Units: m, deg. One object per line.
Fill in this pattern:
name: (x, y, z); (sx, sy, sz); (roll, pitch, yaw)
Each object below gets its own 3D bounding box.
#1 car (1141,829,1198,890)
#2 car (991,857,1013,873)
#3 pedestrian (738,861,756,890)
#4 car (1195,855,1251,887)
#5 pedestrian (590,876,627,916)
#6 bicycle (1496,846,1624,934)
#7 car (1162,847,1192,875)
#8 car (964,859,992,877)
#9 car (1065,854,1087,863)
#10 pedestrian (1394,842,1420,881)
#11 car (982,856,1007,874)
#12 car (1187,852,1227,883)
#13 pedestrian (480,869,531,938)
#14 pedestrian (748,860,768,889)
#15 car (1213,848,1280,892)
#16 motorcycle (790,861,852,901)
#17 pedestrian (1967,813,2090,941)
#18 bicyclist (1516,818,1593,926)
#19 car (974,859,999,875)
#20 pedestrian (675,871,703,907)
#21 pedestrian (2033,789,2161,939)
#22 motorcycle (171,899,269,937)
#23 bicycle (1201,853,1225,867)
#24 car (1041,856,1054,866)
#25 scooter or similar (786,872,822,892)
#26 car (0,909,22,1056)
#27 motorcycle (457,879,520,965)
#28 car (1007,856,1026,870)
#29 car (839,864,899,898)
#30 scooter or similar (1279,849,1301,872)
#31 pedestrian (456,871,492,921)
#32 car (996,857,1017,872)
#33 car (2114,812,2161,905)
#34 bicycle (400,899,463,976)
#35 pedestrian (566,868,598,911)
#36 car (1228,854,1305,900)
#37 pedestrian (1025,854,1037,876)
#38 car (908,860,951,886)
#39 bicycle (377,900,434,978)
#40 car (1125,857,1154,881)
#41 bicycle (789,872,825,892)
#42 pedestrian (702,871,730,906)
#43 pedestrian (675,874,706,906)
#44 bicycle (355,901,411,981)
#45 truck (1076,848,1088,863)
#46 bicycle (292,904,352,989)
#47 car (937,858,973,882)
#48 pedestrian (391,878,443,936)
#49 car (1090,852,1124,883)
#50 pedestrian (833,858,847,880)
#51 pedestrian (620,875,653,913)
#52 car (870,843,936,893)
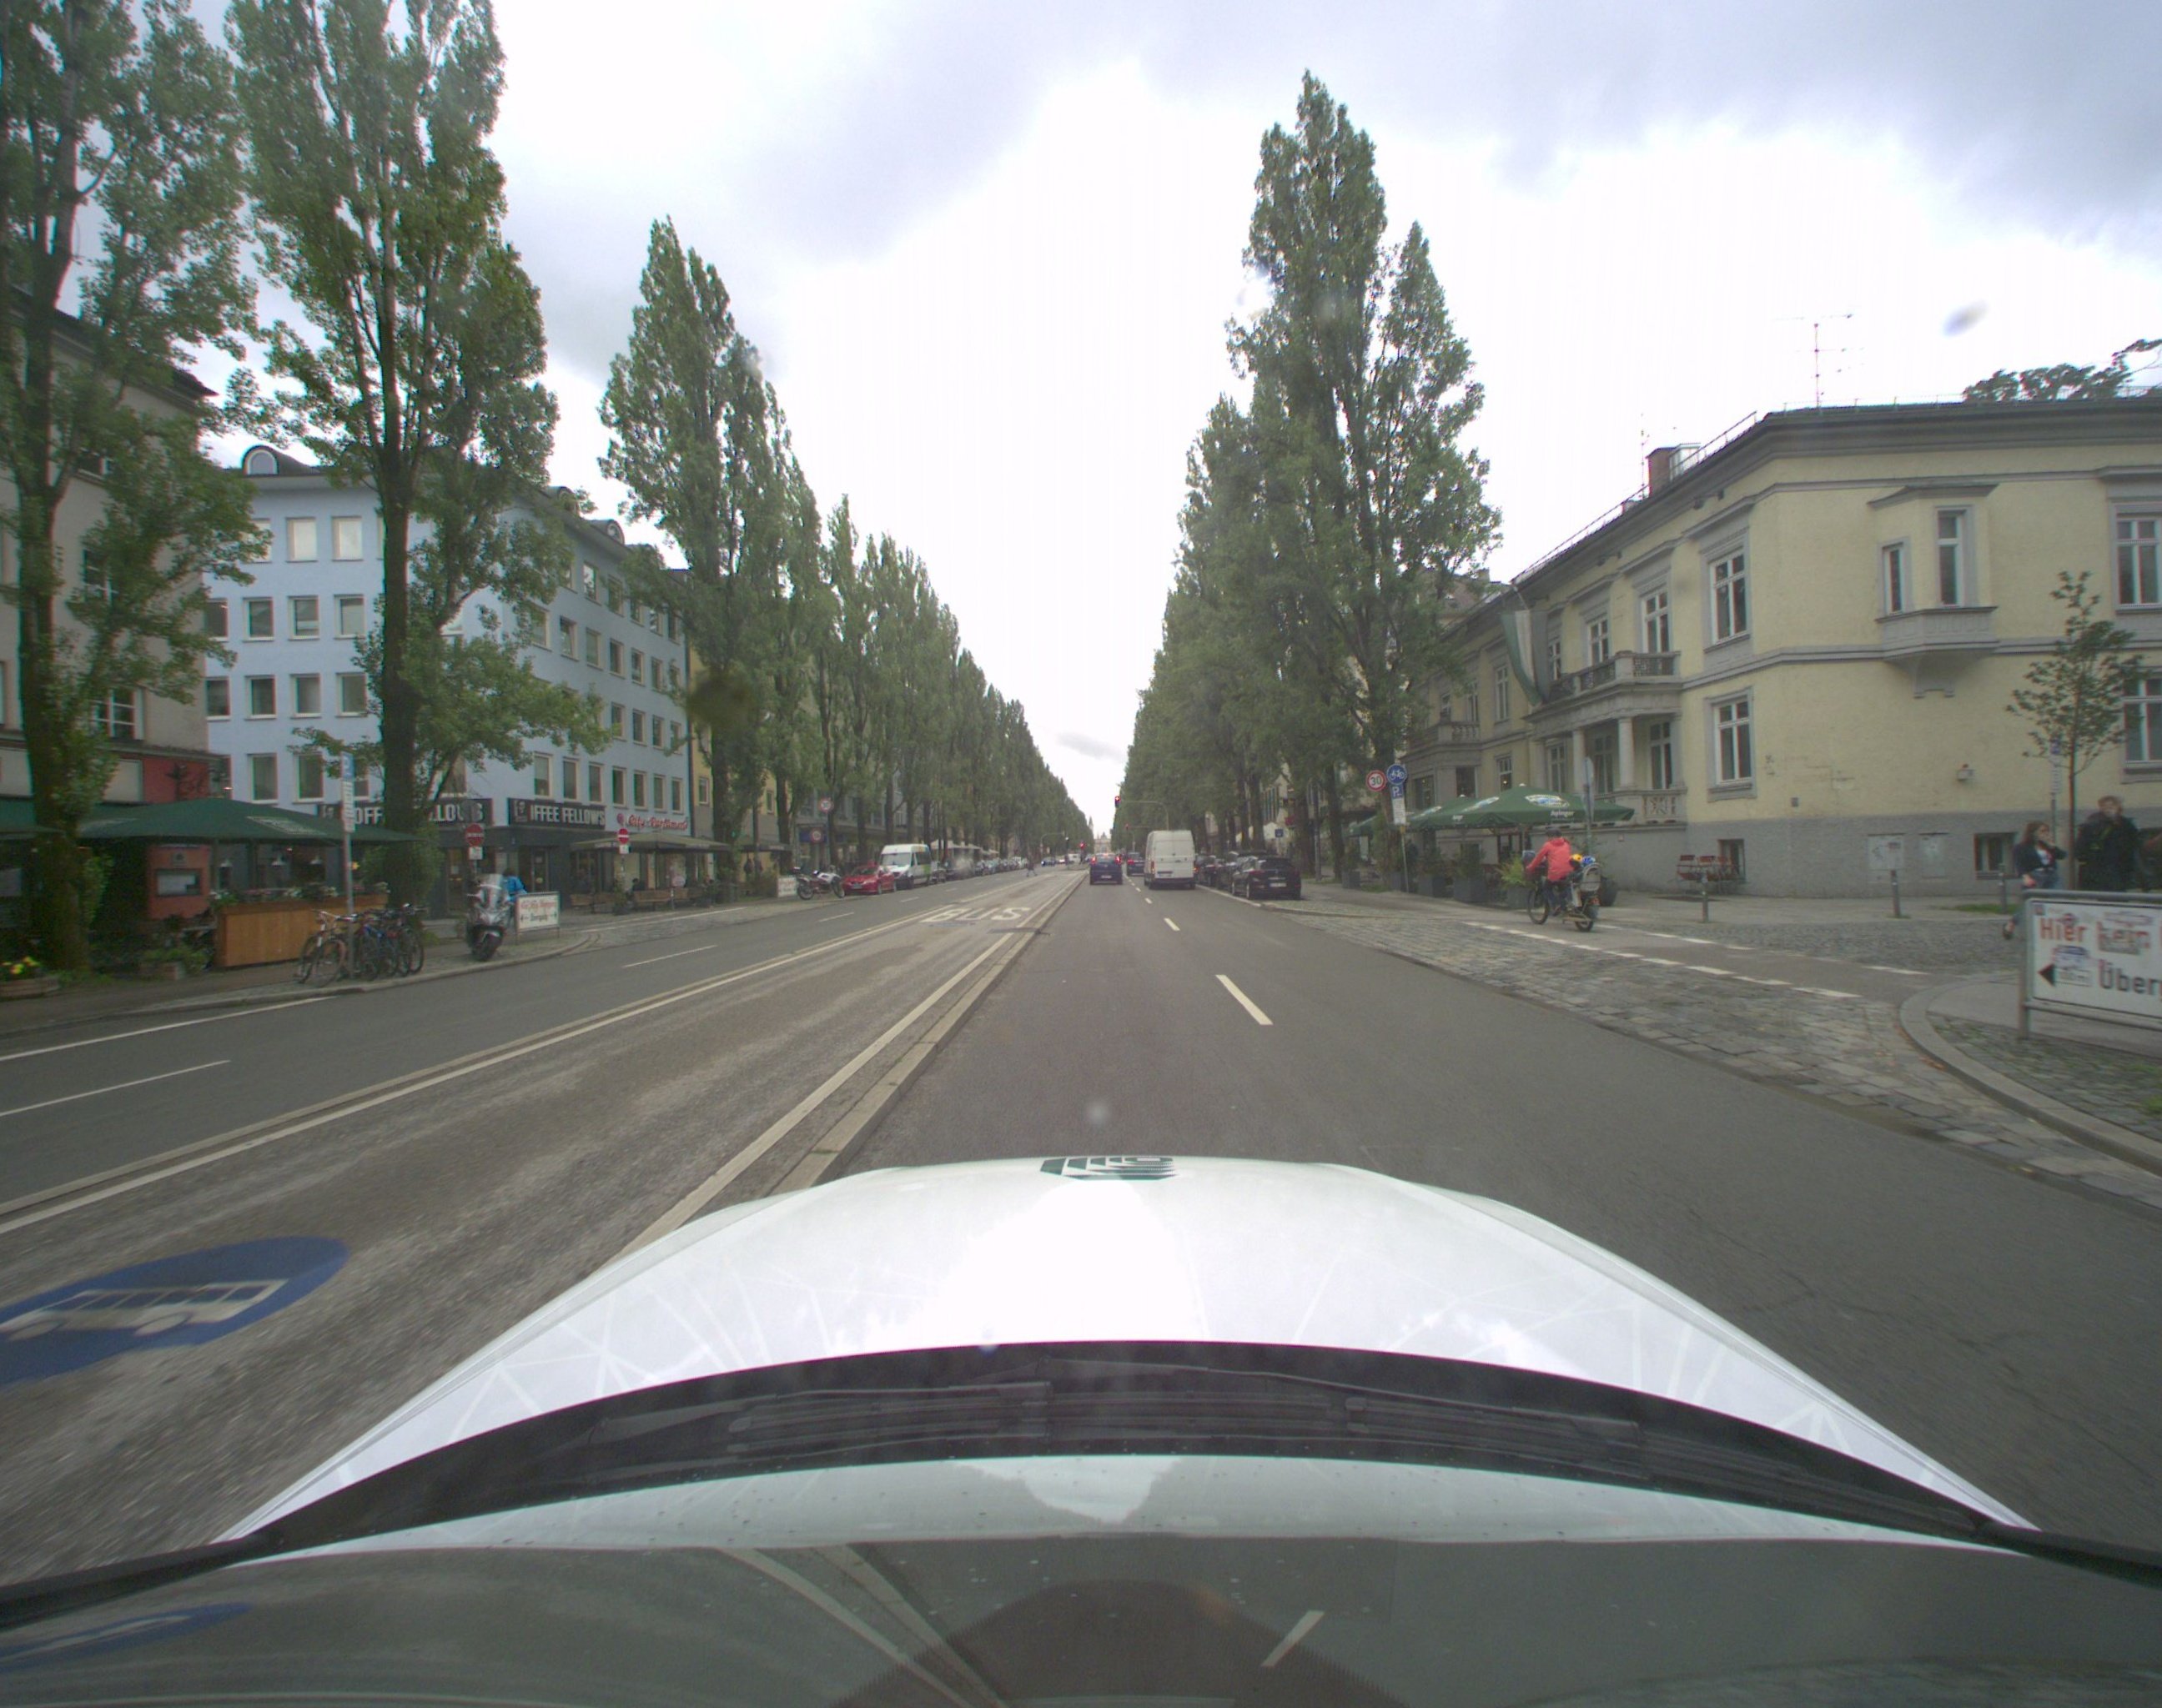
car: (3.956, 0.224, 37.454); (2.055, 2.492, 6.733); (-1, 0, 2)
car: (-8.793, 1.210, 91.243); (1.859, 1.665, 4.121); (-3, 0, 1)
pedestrian: (-19.114, 1.237, 46.552); (0.691, 1.636, 0.567); (-2, 0, 25)
car: (6.572, 0.761, 38.076); (1.705, 1.393, 4.340); (-1, 0, -2)
pedestrian: (-16.972, 1.507, 29.274); (0.694, 1.362, 0.951); (-2, 0, 4)
bicycle: (8.111, 0.561, 13.958); (0.770, 1.349, 2.450); (-2, 0, 1)
car: (7.051, 0.467, 60.160); (1.781, 1.946, 4.732); (-1, 0, 1)
car: (-9.347, 1.247, 73.896); (1.792, 1.488, 4.352); (-3, 0, 1)
car: (-0.909, 0.798, 143.016); (3.368, 1.561, 1.728); (-2, 0, -22)
pedestrian: (14.401, 0.345, 36.010); (0.794, 1.677, 0.877); (-2, 0, 1)
car: (-8.958, 1.133, 84.567); (1.859, 1.665, 4.402); (-3, 0, 1)
car: (6.463, 0.673, 41.962); (1.587, 1.518, 2.728); (0, 0, -1)
pedestrian: (-14.274, 1.206, 20.215); (0.699, 1.647, 0.945); (-2, 0, -15)
pedestrian: (-18.657, 1.185, 47.010); (0.691, 1.636, 0.731); (-2, 0, 25)
car: (6.582, 0.607, 32.839); (1.797, 1.637, 4.446); (-1, 0, 0)
motorcycle: (-10.863, 1.096, 34.082); (2.360, 1.563, 0.706); (-1, 0, -41)
pedestrian: (12.732, 0.307, 10.972); (0.741, 1.661, 0.771); (0, -1, 1)
bicyclist: (8.104, 0.299, 13.966); (0.764, 1.766, 0.885); (-2, 0, 1)
car: (-9.170, 1.257, 79.092); (1.727, 1.425, 4.145); (-3, 0, 1)
pedestrian: (-15.637, 1.394, 32.477); (0.711, 1.362, 0.700); (-2, 0, -1)
pedestrian: (13.752, 0.130, 11.006); (0.836, 1.949, 0.800); (0, -1, -5)
motorcycle: (-31.234, 2.309, 29.560); (2.748, 1.203, 0.739); (-3, 1, 2)
bicycle: (12.659, 0.563, 78.140); (2.220, 1.204, 0.626); (-2, 0, -1)
car: (-5.283, 1.082, 130.110); (1.691, 1.462, 4.714); (-3, 0, 1)
scooter or similar: (-14.981, 1.509, 44.026); (1.768, 1.026, 0.421); (-2, 0, -2)
car: (-11.444, 1.305, 6.210); (1.751, 1.422, 3.782); (-3, 0, -2)
motorcycle: (-11.030, 1.208, 15.233); (0.748, 1.414, 2.430); (-2, 0, -32)
car: (-8.428, 1.147, 106.831); (1.859, 1.665, 4.121); (-3, 0, 1)
car: (-10.460, 1.303, 40.487); (1.731, 1.419, 4.150); (-3, 0, 1)
scooter or similar: (13.189, 0.376, 51.412); (0.634, 1.376, 2.493); (-3, 1, -2)
pedestrian: (-22.659, 1.551, 30.414); (0.953, 1.773, 0.693); (-2, 0, -29)
car: (-8.759, 1.206, 96.043); (1.859, 1.665, 4.121); (-3, 0, 1)
car: (22.075, 0.070, 14.571); (4.394, 1.702, 1.974); (0, -1, 5)
bicycle: (-10.728, 1.339, 13.433); (1.956, 1.125, 0.363); (-1, -1, 38)
pedestrian: (-20.215, 1.425, 33.003); (0.753, 1.686, 0.786); (-2, 0, 4)
car: (6.214, 0.718, 27.663); (1.689, 1.416, 3.950); (-1, 0, 0)
pedestrian: (-3.873, 0.889, 63.599); (0.857, 1.684, 0.626); (-2, 0, -2)
car: (-10.088, 1.246, 54.541); (1.859, 1.552, 4.416); (-3, 0, 1)
bicycle: (-10.922, 1.344, 13.150); (1.956, 1.125, 0.284); (-1, -1, 38)
car: (4.111, 1.023, 57.880); (1.889, 1.622, 4.002); (-1, 0, 2)
bicycle: (-15.016, 1.515, 44.633); (1.768, 1.026, 0.421); (-2, 0, -2)
pedestrian: (-14.878, 1.386, 33.173); (0.695, 1.362, 0.848); (-2, 0, 0)
pedestrian: (-15.263, 1.391, 31.836); (0.813, 1.182, 0.700); (-2, 0, 0)
bicycle: (-11.098, 1.343, 12.926); (1.956, 1.125, 0.284); (-1, -1, 38)
truck: (0.259, 0.420, 190.317); (2.374, 3.346, 7.113); (-2, 0, 2)
bicycle: (-11.415, 1.350, 12.236); (1.956, 1.125, 0.344); (-1, -1, 38)
car: (-9.647, 1.179, 62.679); (1.859, 1.664, 4.612); (-3, 0, 1)
pedestrian: (-19.849, 1.584, 24.359); (0.694, 1.647, 0.931); (-2, 0, 7)
car: (1.359, 0.676, 42.693); (1.665, 1.568, 4.002); (-1, 0, 2)
pedestrian: (-18.505, 1.156, 62.556); (0.694, 1.700, 0.728); (-2, 0, 6)
pedestrian: (-16.703, 1.483, 30.615); (0.694, 1.362, 0.820); (-2, 0, 4)
car: (-10.233, 0.740, 47.444); (1.998, 2.567, 6.914); (-3, 0, 2)
